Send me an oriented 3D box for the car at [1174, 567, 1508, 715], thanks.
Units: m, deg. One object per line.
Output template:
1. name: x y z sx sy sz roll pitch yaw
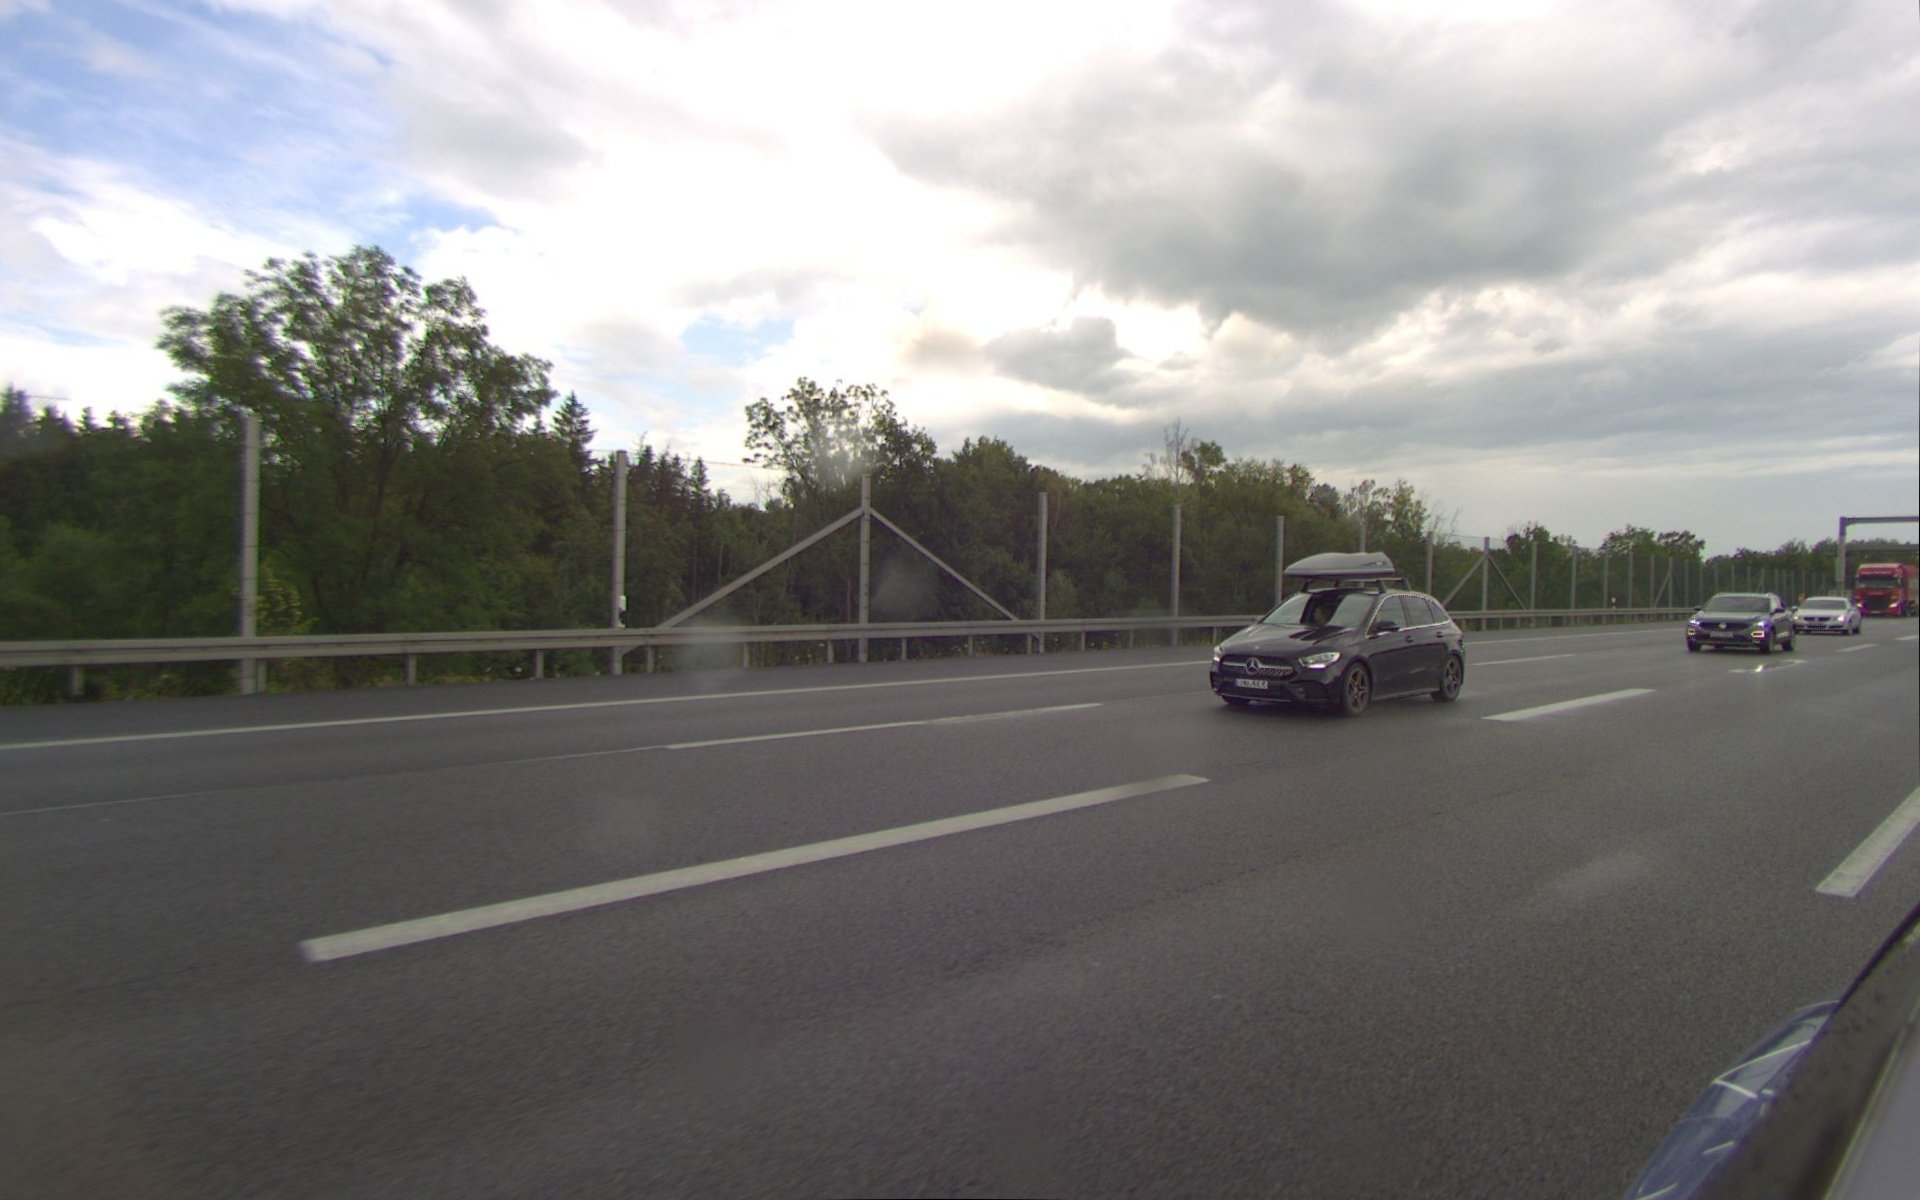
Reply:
1. car: 5.241 0.441 13.549 4.977 1.626 2.108 0 1 -42

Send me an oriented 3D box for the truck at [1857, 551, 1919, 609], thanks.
1. truck: 71.862 -1.374 77.031 15.359 4.054 3.159 0 0 -40

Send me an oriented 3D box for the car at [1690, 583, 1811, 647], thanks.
1. car: 21.039 0.356 26.906 3.655 1.582 1.796 0 1 -40

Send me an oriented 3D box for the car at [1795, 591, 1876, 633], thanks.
1. car: 34.447 0.419 39.784 4.173 1.464 1.896 -2 2 -42
